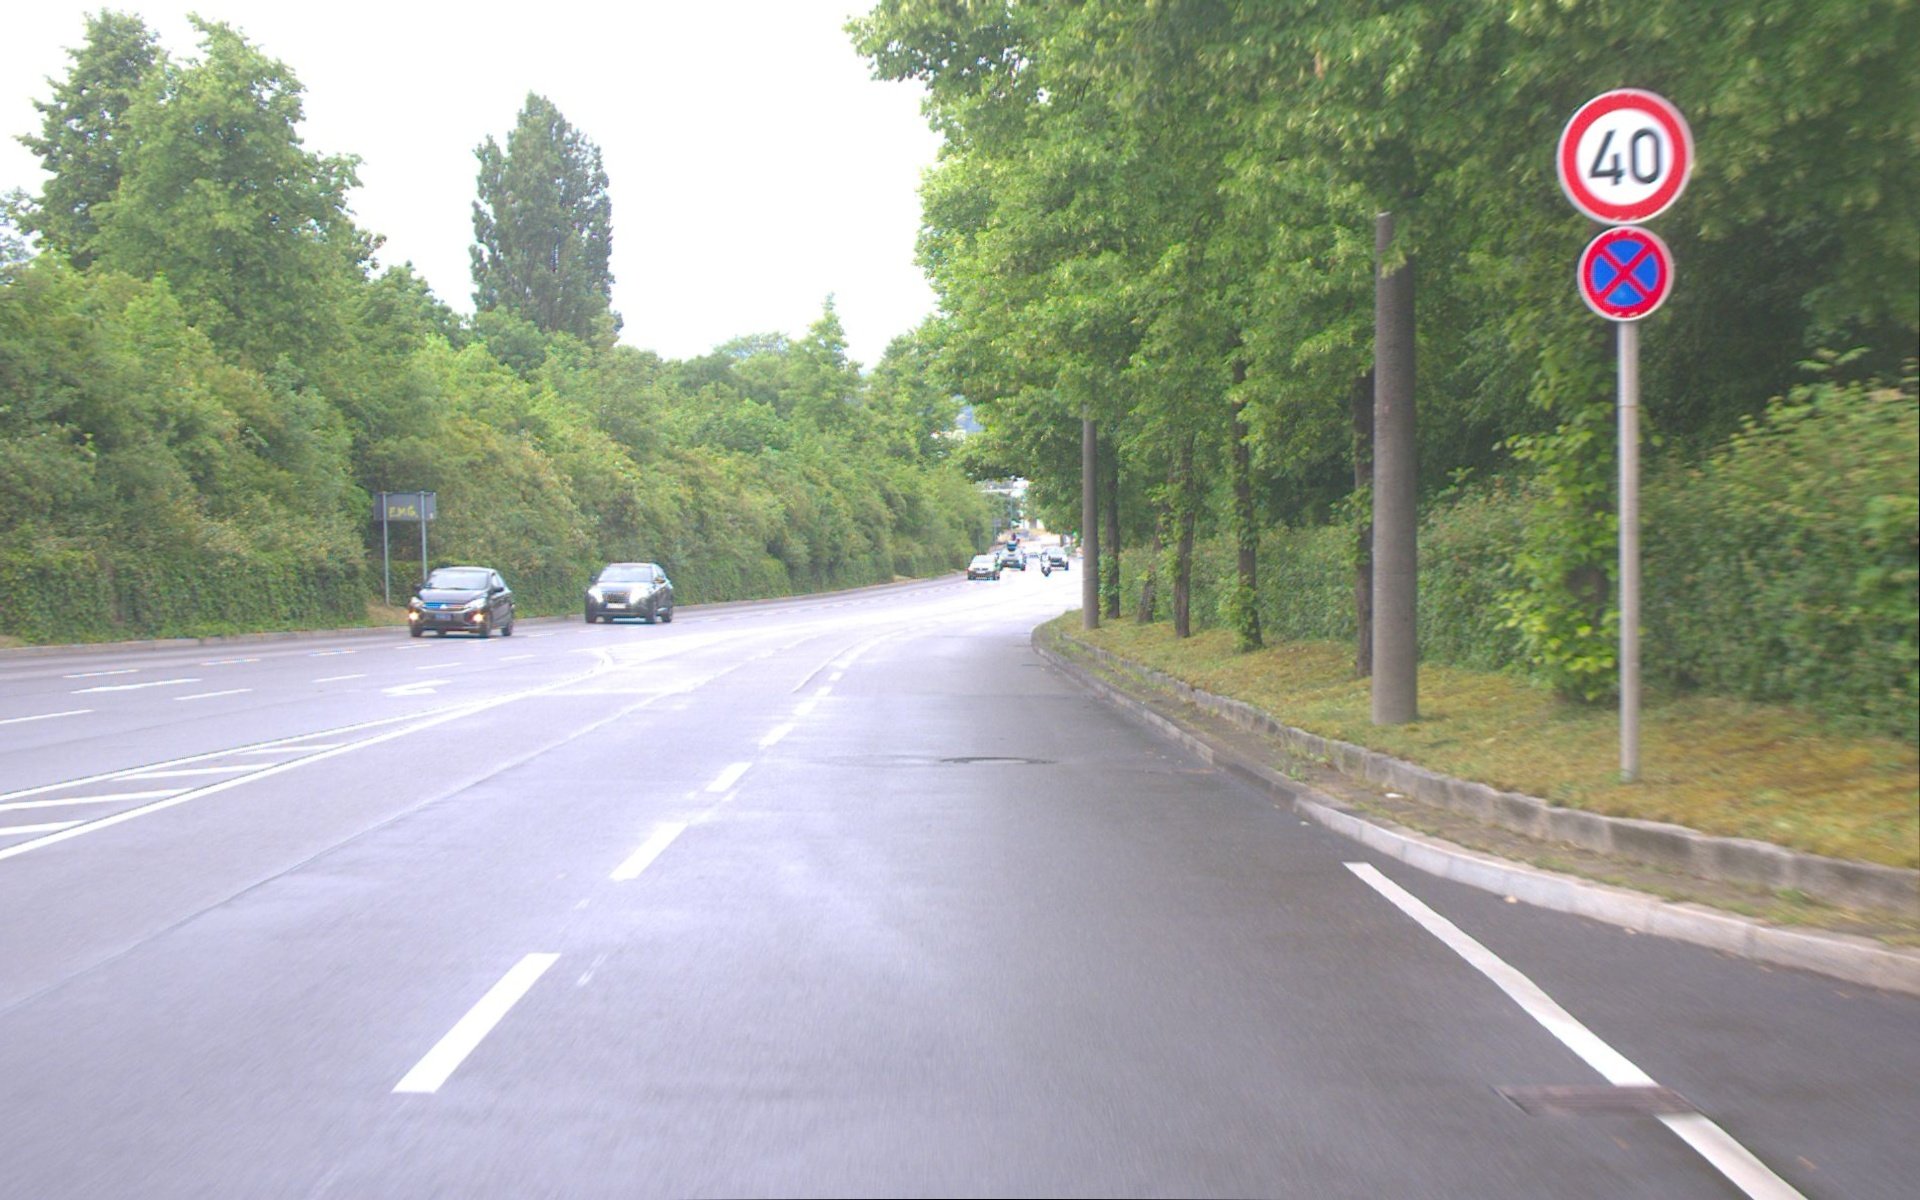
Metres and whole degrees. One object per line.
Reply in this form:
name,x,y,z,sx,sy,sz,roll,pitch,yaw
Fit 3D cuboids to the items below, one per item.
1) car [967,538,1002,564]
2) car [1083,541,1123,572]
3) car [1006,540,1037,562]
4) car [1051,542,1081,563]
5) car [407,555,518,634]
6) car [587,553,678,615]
car,1.469,-2.859,202.988,1.864,1.459,3.892,2,1,2
car,7.856,-2.389,188.769,1.945,1.585,3.927,0,2,6
car,4.354,-3.466,244.112,1.865,1.459,3.892,2,1,5
car,7.693,-3.461,249.647,1.865,1.459,3.892,2,1,5
car,-10.400,-0.138,72.090,1.725,1.560,3.893,2,1,0
car,-8.819,-0.447,92.833,1.864,1.584,3.892,2,1,2
